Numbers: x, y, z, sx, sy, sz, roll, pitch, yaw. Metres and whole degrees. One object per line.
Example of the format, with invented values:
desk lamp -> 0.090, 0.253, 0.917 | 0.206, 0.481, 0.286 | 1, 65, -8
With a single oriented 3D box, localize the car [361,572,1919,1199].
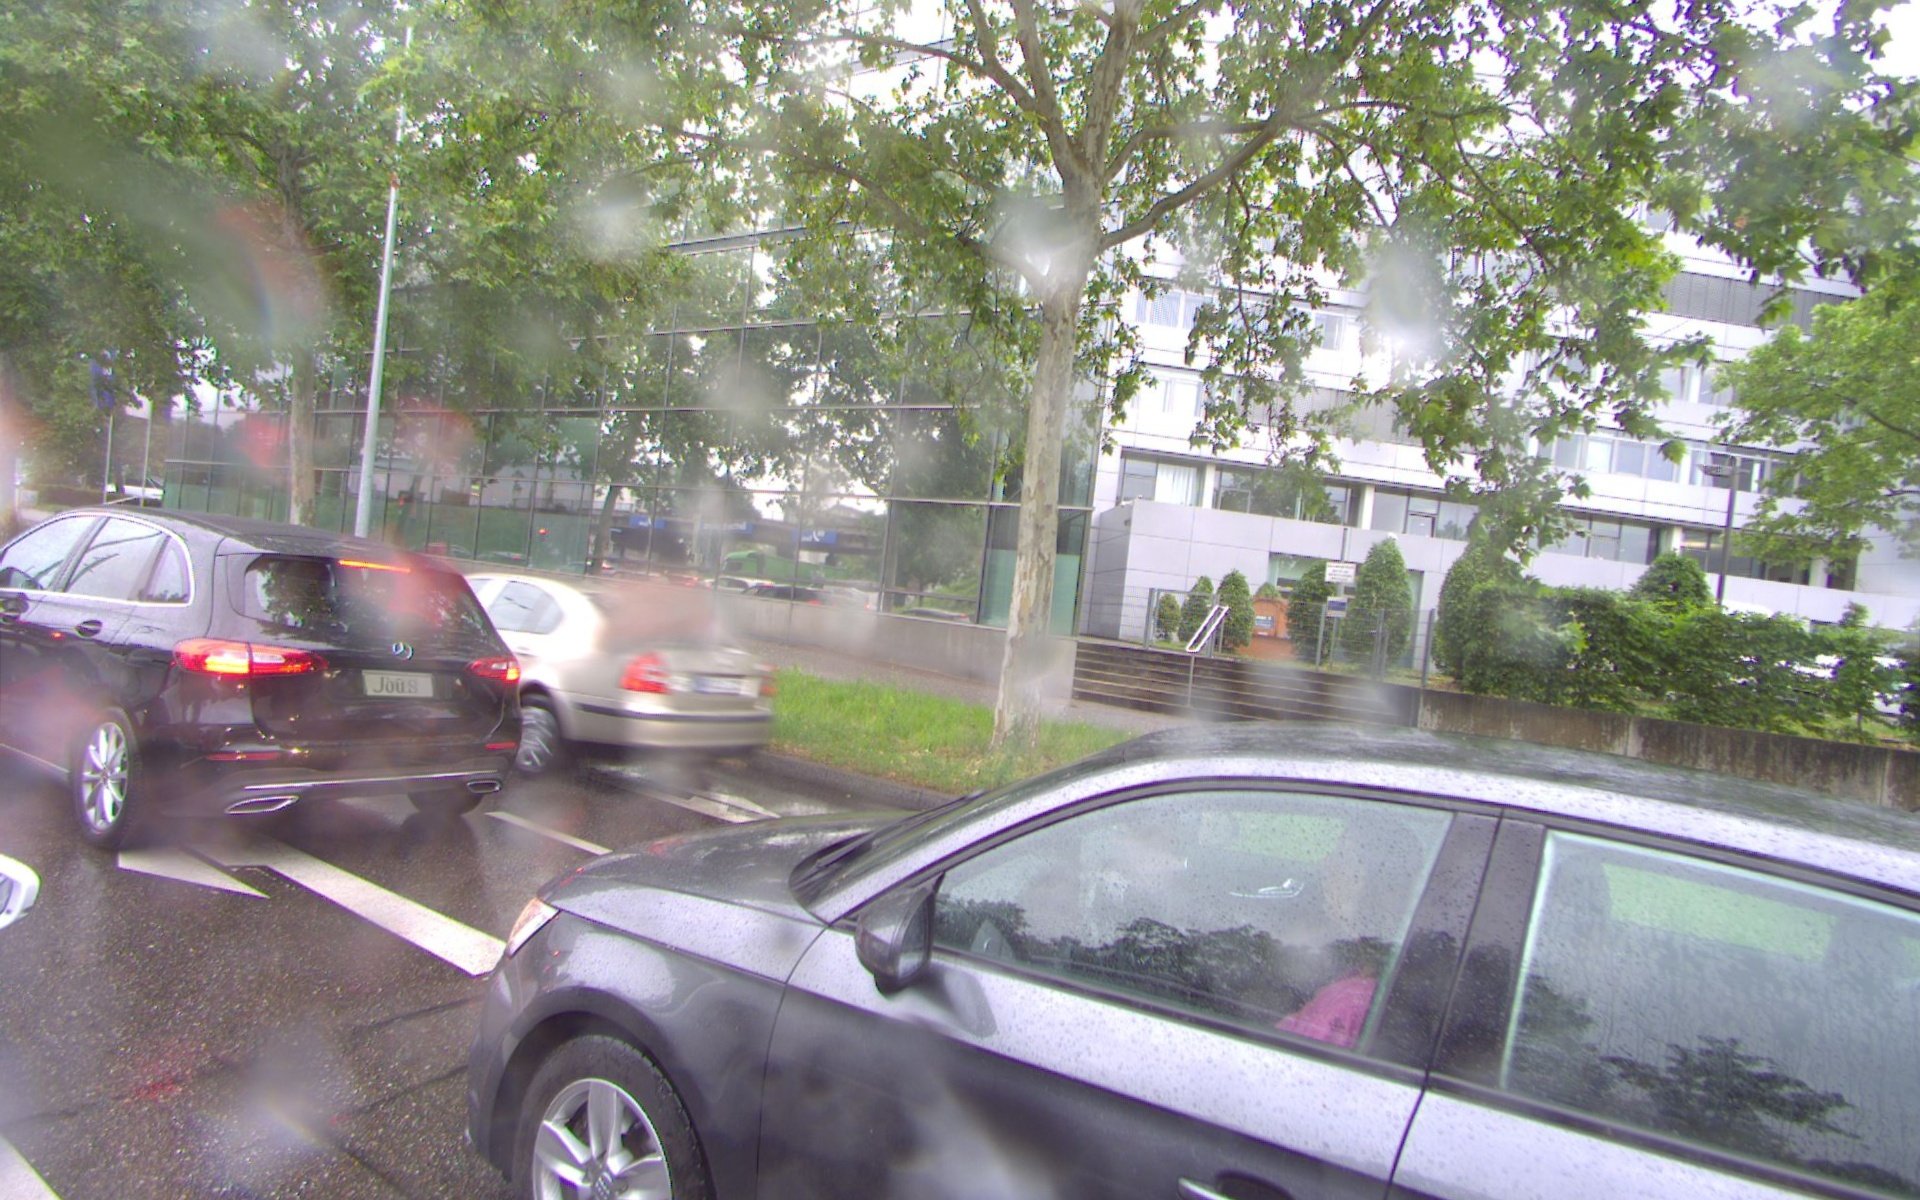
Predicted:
car -> 0.910, 0.942, 2.149 | 3.932, 1.469, 1.998 | 6, -2, 30

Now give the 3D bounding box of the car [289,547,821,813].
car -> -3.469, 0.527, 8.383 | 4.314, 1.447, 1.805 | 6, -1, 32

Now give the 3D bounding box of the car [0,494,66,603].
car -> -17.812, -1.091, 17.663 | 4.120, 1.746, 1.860 | 6, -1, 30

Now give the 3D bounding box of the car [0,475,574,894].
car -> -4.310, 0.246, 5.737 | 3.932, 1.568, 1.712 | 8, 0, 30
